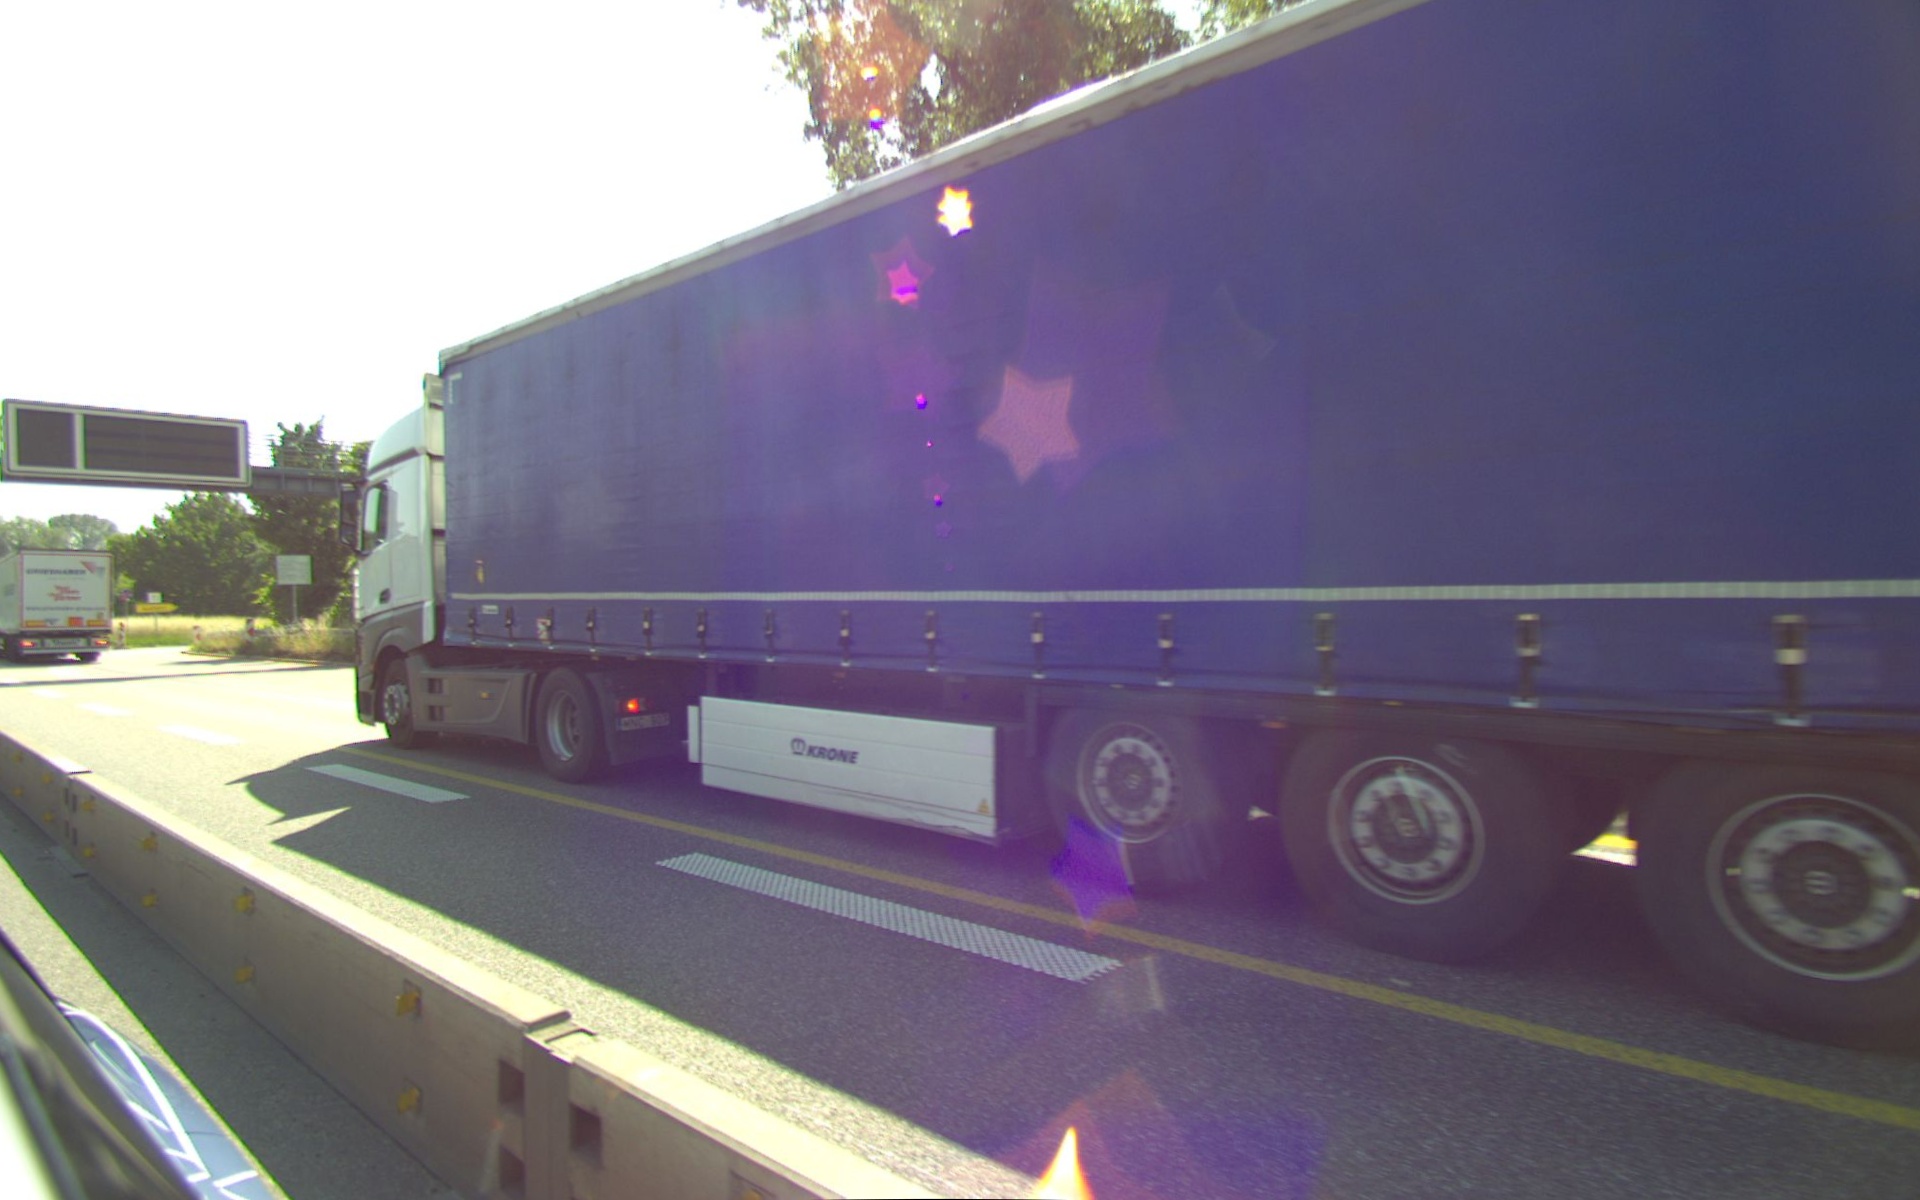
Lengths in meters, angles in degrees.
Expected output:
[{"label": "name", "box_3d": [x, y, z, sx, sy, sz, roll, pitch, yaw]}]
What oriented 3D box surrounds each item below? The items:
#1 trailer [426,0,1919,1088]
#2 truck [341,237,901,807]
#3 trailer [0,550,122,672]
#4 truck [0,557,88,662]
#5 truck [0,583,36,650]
[{"label": "trailer", "box_3d": [0.787, -0.615, 6.452, 14.061, 4.159, 2.593, -1, -1, 41]}, {"label": "truck", "box_3d": [-3.850, -0.535, 10.514, 6.503, 4.159, 2.593, -1, -1, 41]}, {"label": "trailer", "box_3d": [-35.697, 0.442, 39.484, 12.340, 4.136, 3.012, -1, -1, 43]}, {"label": "truck", "box_3d": [-39.796, 0.430, 43.249, 7.642, 4.136, 3.012, -1, -1, 43]}, {"label": "truck", "box_3d": [-62.452, 1.100, 65.649, 8.710, 4.136, 3.012, -1, -1, 43]}]
